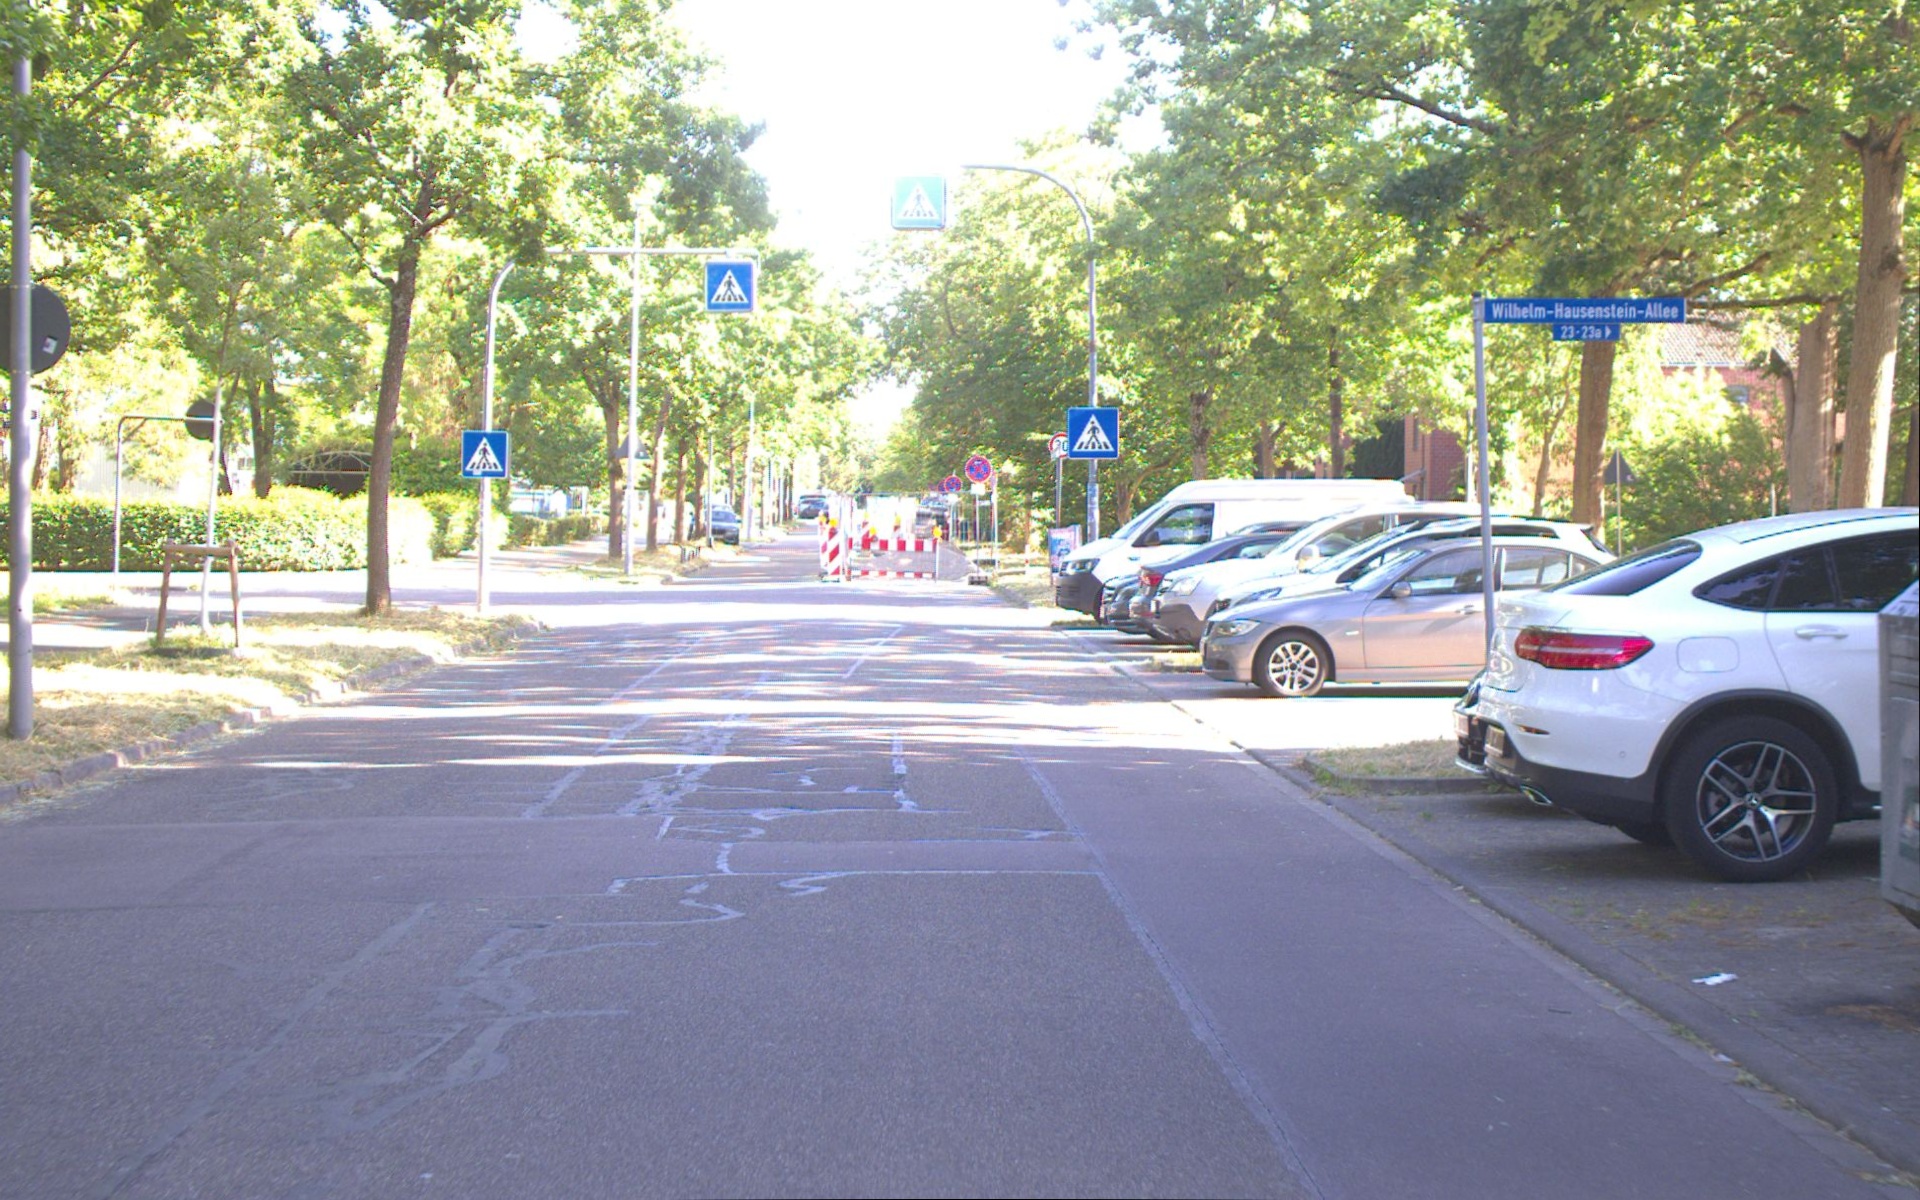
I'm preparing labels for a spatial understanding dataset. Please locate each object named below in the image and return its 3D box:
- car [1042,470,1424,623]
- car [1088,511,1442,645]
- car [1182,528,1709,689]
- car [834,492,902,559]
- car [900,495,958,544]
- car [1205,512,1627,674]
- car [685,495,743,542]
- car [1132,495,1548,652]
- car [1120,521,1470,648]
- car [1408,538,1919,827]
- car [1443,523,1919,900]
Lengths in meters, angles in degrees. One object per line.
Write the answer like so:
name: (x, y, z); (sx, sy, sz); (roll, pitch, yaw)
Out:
car: (3.826, -0.762, 48.850); (5.186, 2.098, 2.083); (0, 1, -2)
car: (3.833, -0.295, 43.724); (4.212, 1.563, 1.934); (1, 2, -3)
car: (4.296, 0.055, 30.951); (4.445, 1.385, 1.911); (0, 2, -1)
car: (-2.799, -2.275, 104.563); (1.993, 1.926, 4.001); (1, 1, -2)
car: (-1.143, -2.955, 125.540); (1.993, 1.710, 4.001); (1, 1, -2)
car: (4.454, -0.091, 33.965); (3.884, 1.492, 1.777); (-1, 1, -2)
car: (-9.401, -3.119, 131.598); (1.993, 1.710, 4.001); (1, 1, -2)
car: (4.210, -0.319, 38.550); (4.384, 1.645, 1.851); (-1, 2, -3)
car: (3.950, -0.204, 41.086); (3.987, 1.428, 1.901); (1, 1, 1)
car: (4.953, 0.401, 18.932); (4.670, 1.450, 1.917); (-1, 2, -2)
car: (4.692, 0.443, 15.718); (4.670, 1.575, 1.917); (-1, 2, 0)
